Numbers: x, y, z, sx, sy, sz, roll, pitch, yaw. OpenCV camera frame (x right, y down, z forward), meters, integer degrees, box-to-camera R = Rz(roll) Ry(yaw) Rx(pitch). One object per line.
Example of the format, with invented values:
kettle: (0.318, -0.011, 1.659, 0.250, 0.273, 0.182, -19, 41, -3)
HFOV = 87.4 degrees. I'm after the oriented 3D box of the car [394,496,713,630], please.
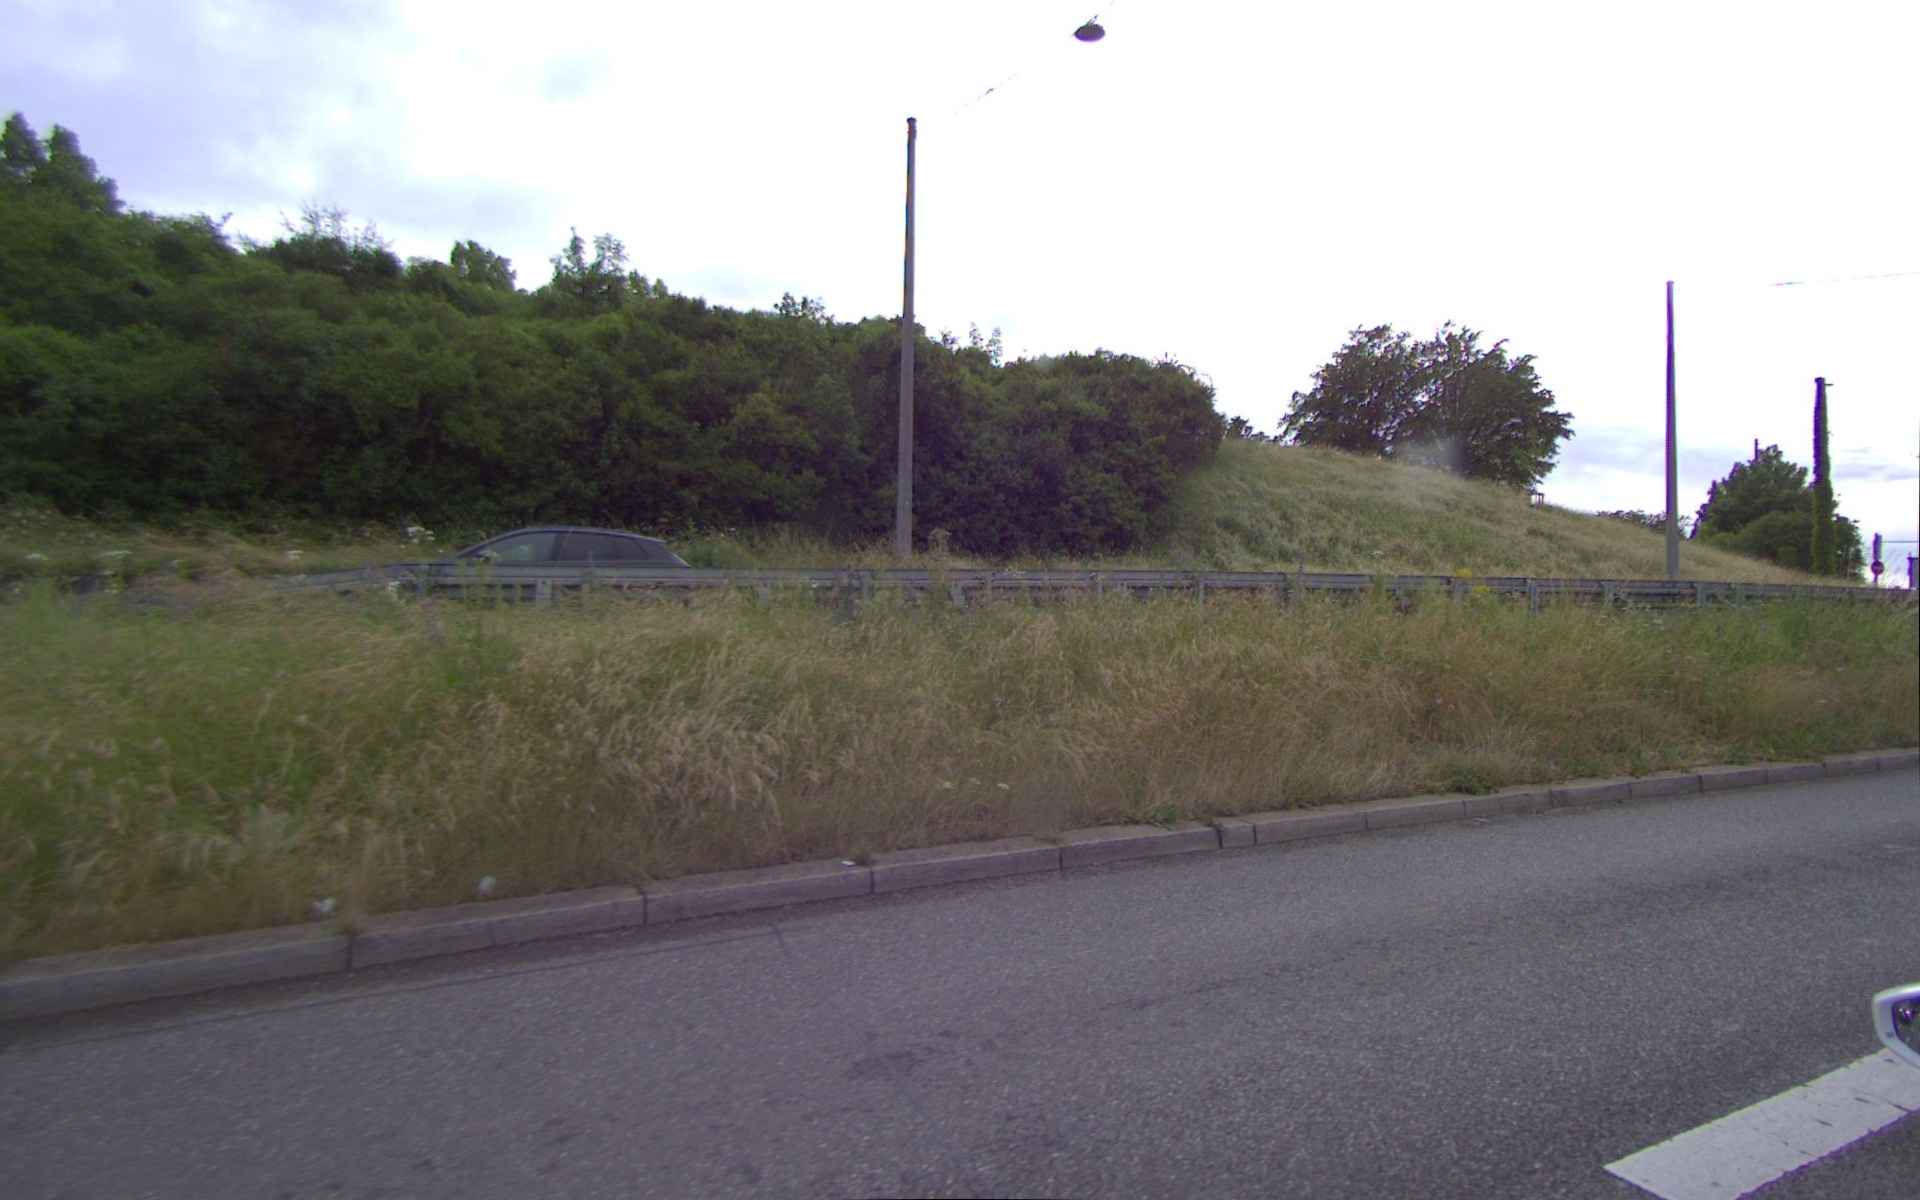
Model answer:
car: (-5.669, -0.486, 14.227, 3.947, 1.679, 1.705, 1, 3, -26)
